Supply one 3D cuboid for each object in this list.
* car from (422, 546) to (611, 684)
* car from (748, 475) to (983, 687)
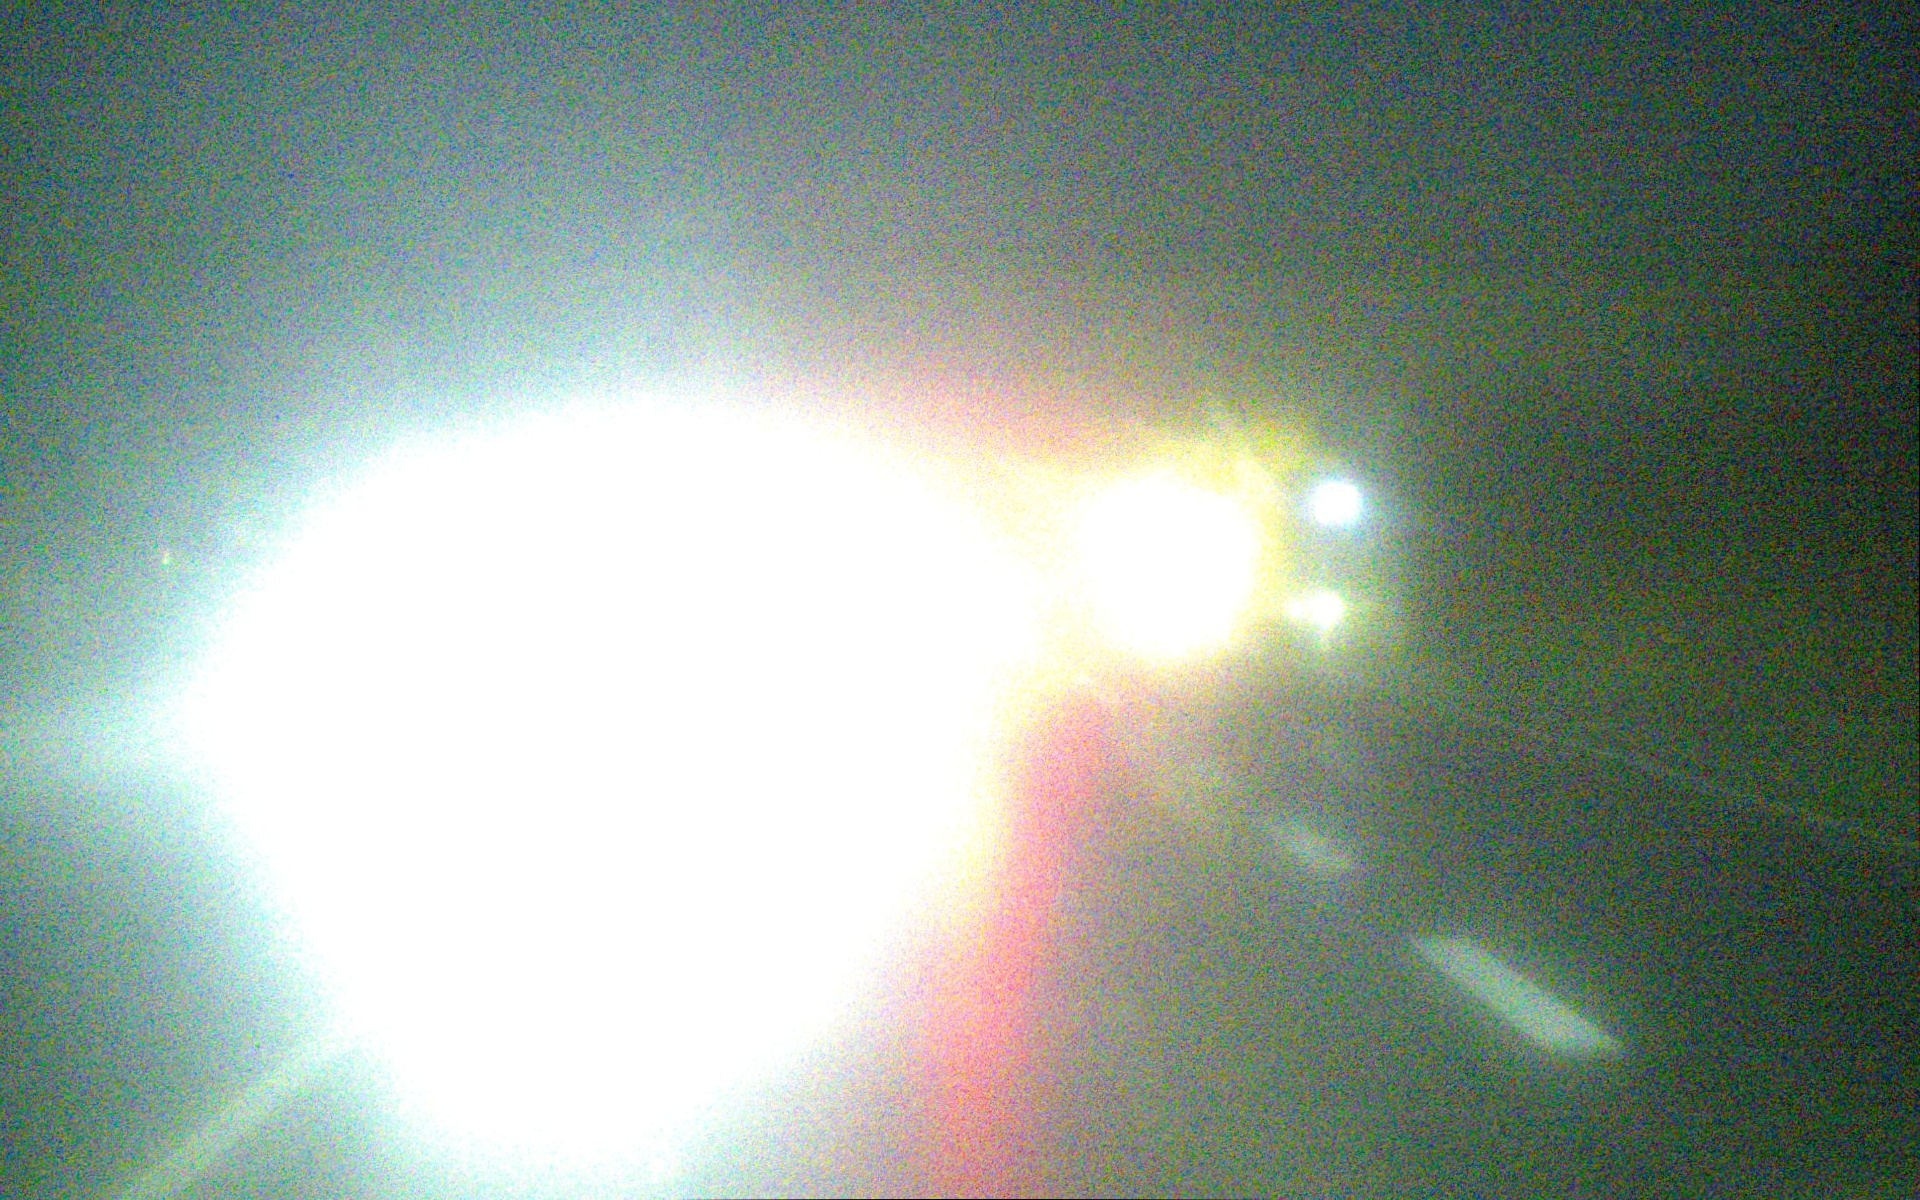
[{"bbox_3d":[-5.061,0.144,39.700,1.993,1.468,4.277,1,0,-5],"label":"car"},{"bbox_3d":[-0.783,-0.163,28.661,1.808,1.616,4.000,1,0,-1],"label":"car"}]
